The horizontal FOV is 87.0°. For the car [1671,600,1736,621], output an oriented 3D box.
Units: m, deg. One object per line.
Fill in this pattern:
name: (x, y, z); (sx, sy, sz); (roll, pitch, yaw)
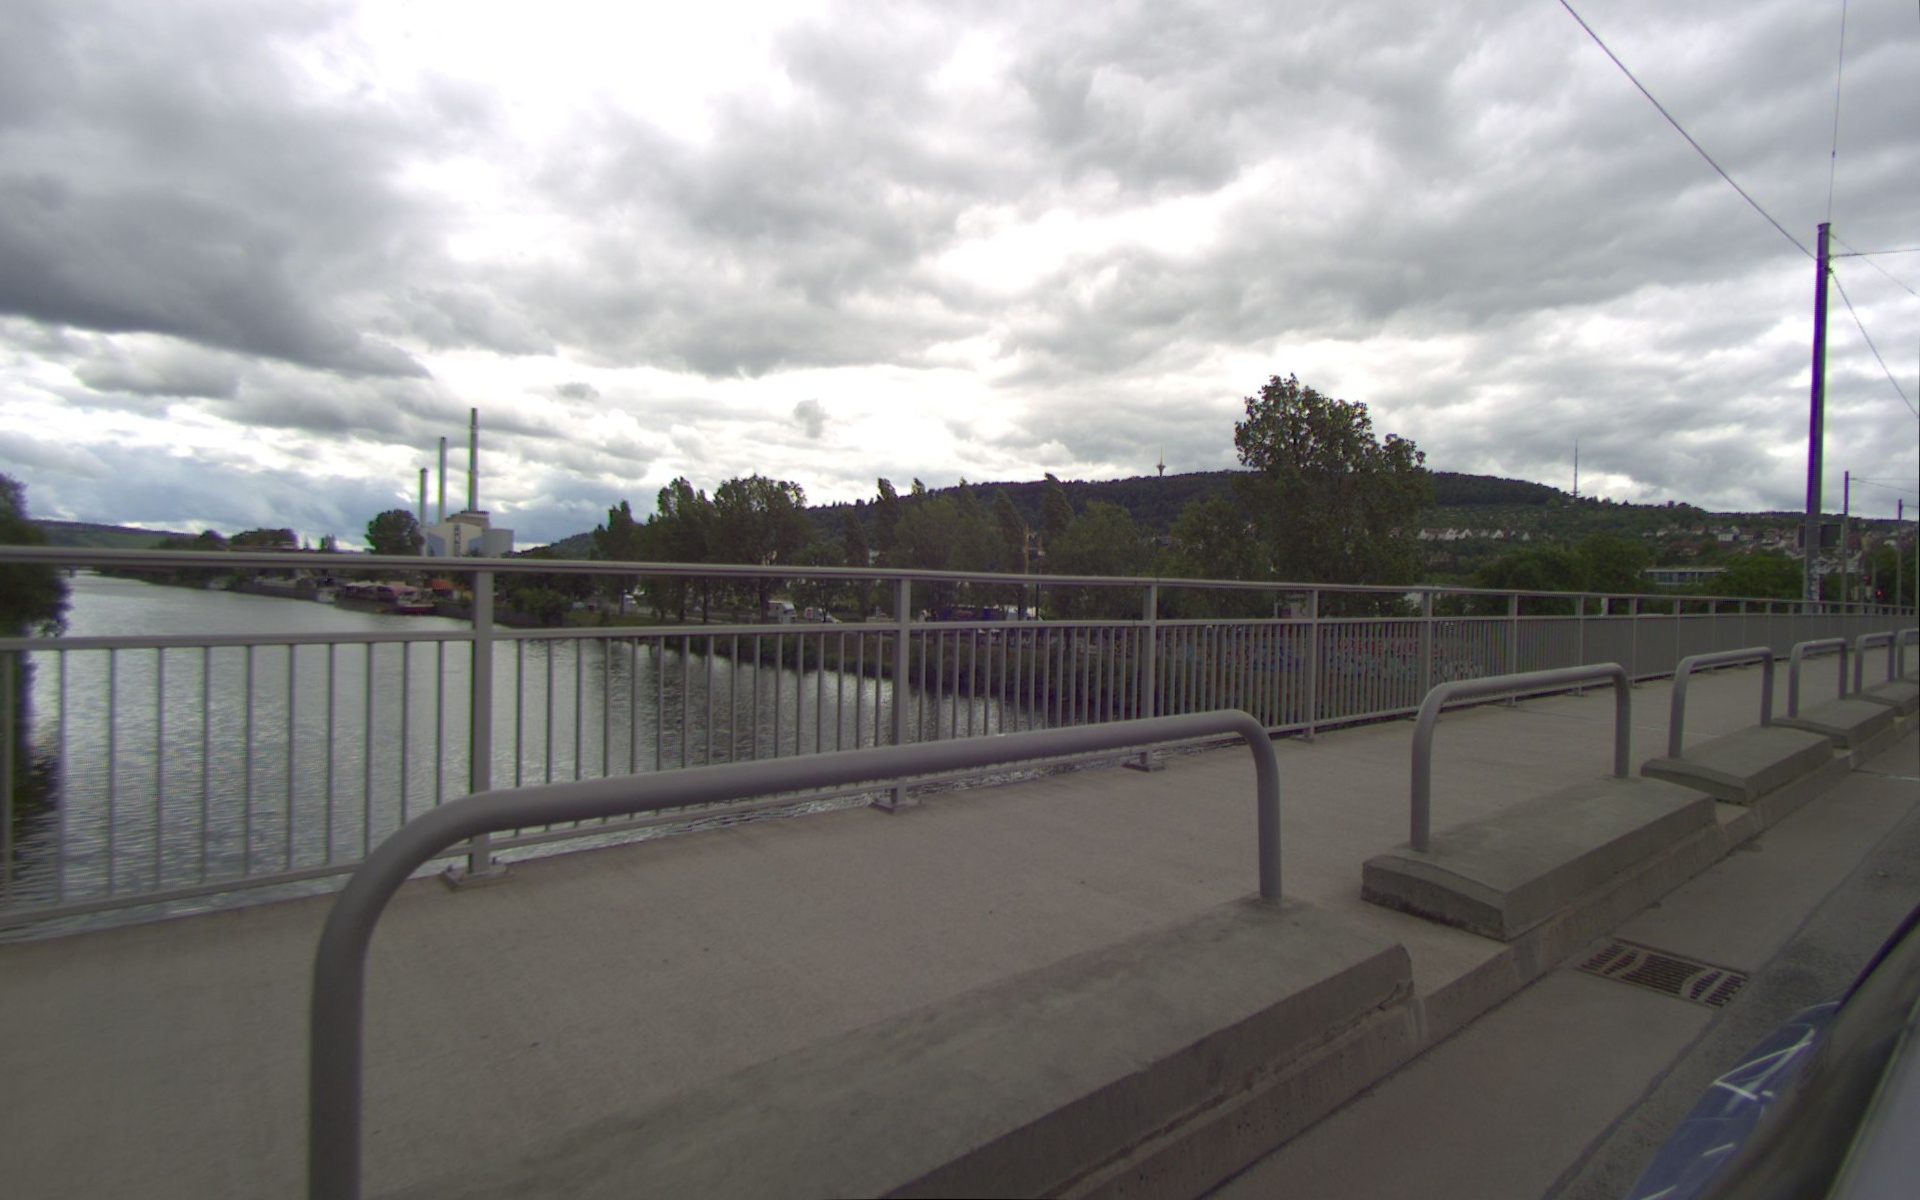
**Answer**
car: (54.615, 0.761, 74.375); (1.667, 1.559, 3.616); (0, -1, -42)

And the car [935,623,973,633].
car: (-1.008, 4.593, 165.133); (2.658, 1.559, 5.994); (0, -1, -45)

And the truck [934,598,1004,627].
truck: (1.407, 2.103, 175.304); (3.322, 3.964, 14.414); (2, 3, -41)

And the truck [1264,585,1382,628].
truck: (34.639, 0.558, 97.081); (3.173, 3.928, 10.404); (1, -1, -43)

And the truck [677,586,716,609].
truck: (-63.815, -0.563, 244.603); (3.526, 4.540, 13.164); (1, 3, -42)

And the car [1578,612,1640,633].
car: (50.655, 1.725, 78.999); (1.667, 1.559, 3.752); (0, -1, -42)

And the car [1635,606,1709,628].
car: (55.295, 1.329, 78.618); (1.965, 1.640, 4.335); (-1, 0, -41)

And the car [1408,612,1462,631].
car: (41.722, 1.869, 88.955); (1.667, 1.559, 4.039); (0, -1, -42)

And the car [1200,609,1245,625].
car: (28.001, 1.796, 107.943); (1.889, 1.559, 4.383); (0, -1, -42)

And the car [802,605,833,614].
car: (-26.567, 1.733, 188.103); (2.658, 1.559, 5.994); (0, -1, -45)
